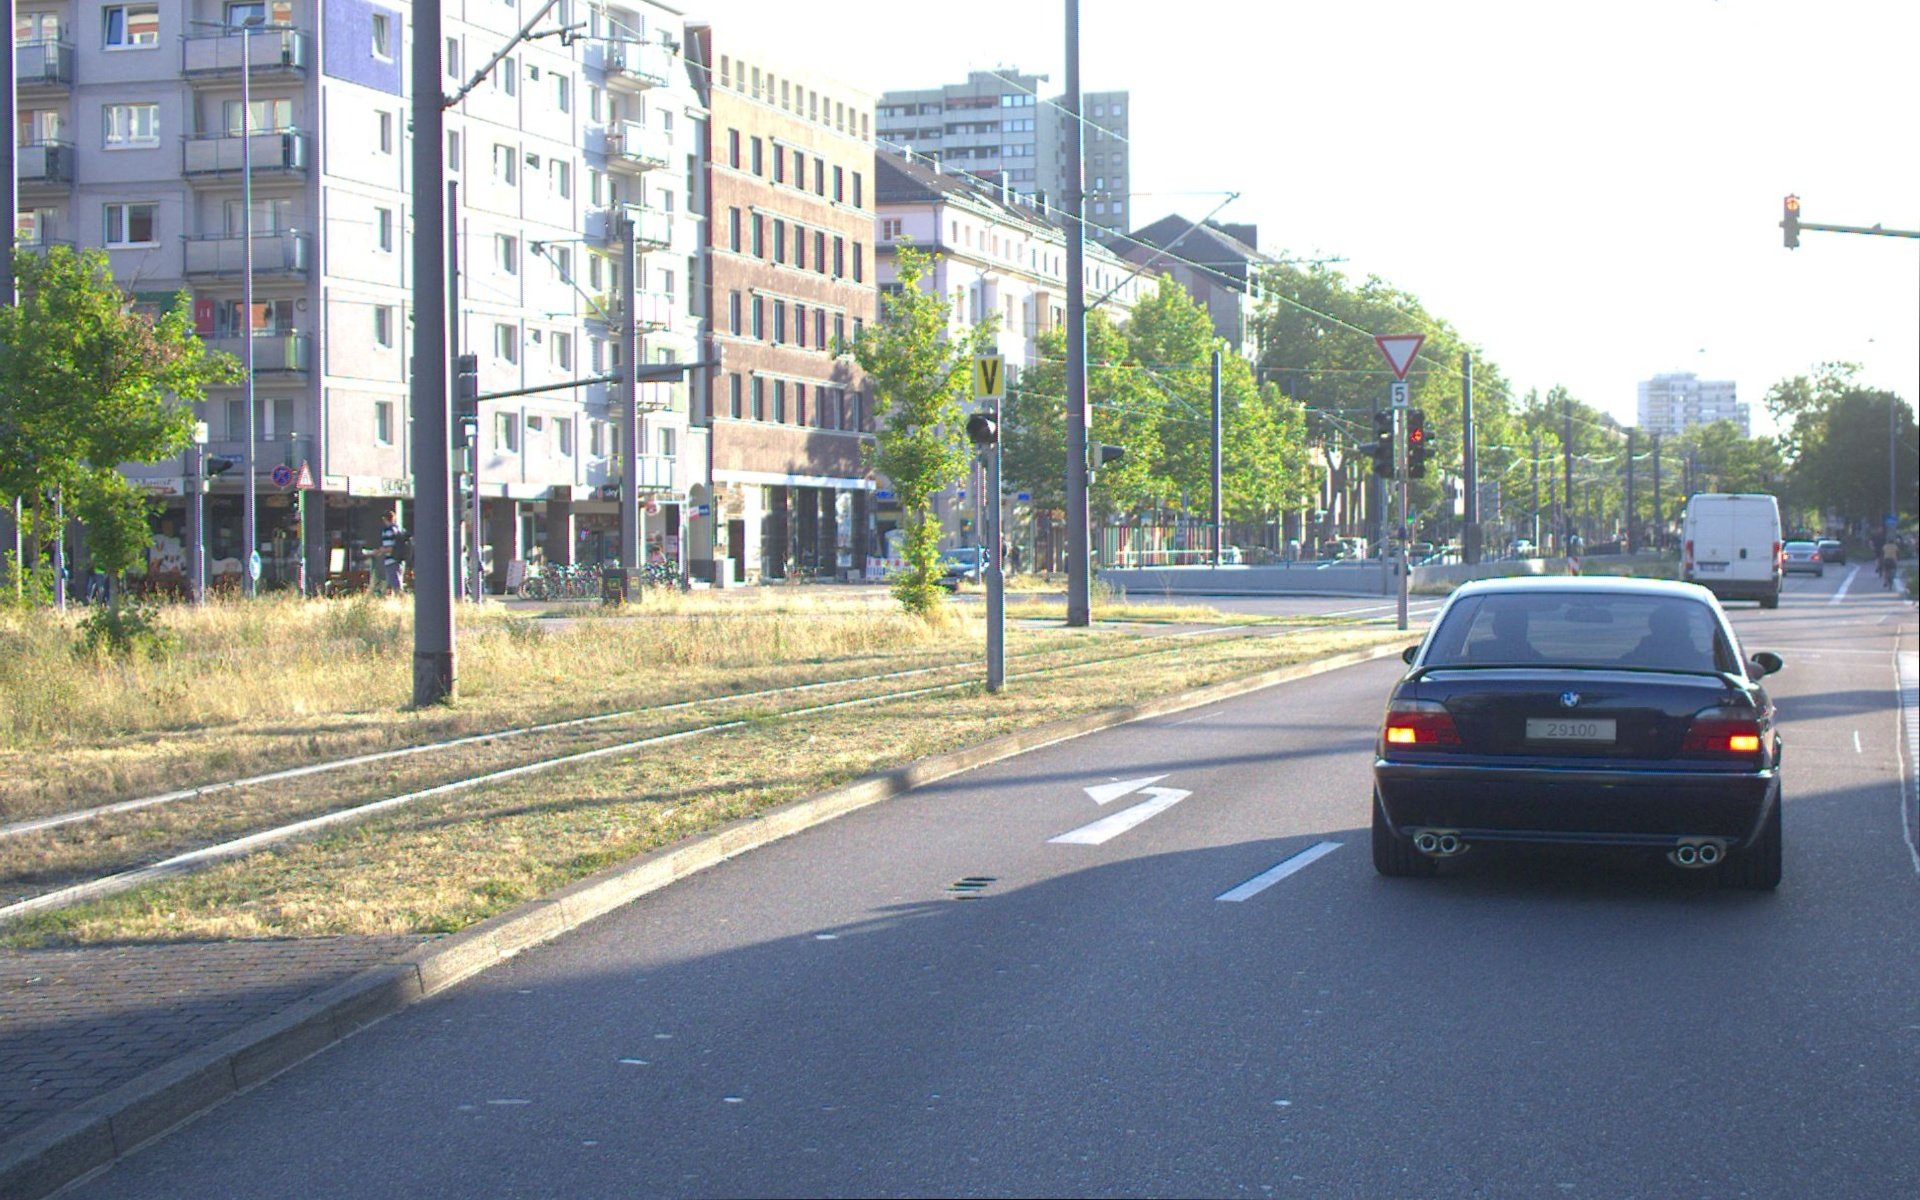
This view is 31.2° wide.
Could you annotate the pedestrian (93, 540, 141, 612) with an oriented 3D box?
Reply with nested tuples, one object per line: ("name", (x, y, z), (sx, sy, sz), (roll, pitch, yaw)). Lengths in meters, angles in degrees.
("pedestrian", (-19.978, -0.576, 81.499), (0.740, 1.664, 0.782), (0, 2, 25))

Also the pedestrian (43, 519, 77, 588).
("pedestrian", (-21.513, -1.121, 82.220), (0.514, 1.623, 0.615), (0, 2, 16))

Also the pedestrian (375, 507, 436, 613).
("pedestrian", (-9.270, -0.675, 57.465), (0.721, 1.756, 0.649), (1, 2, 37))

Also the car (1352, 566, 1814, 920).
("car", (3.185, 0.574, 16.843), (1.831, 1.349, 4.638), (1, 2, 15))

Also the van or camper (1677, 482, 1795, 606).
("van or camper", (17.120, -1.267, 75.702), (2.264, 2.616, 4.500), (0, 2, 16))

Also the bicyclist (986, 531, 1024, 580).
("bicyclist", (1.336, -1.320, 101.701), (0.853, 1.437, 0.663), (0, 3, -38))

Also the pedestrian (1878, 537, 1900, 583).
("pedestrian", (30.231, -1.299, 111.843), (0.617, 1.470, 0.799), (0, 2, 20))

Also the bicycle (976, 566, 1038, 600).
("bicycle", (1.396, -0.498, 101.797), (1.729, 0.966, 0.704), (0, 4, -39))

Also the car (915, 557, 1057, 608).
("car", (0.787, -0.557, 104.277), (3.987, 1.429, 1.718), (-1, 3, -33))

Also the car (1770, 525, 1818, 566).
("car", (34.476, -2.256, 142.188), (1.795, 1.560, 3.998), (0, 2, 11))
